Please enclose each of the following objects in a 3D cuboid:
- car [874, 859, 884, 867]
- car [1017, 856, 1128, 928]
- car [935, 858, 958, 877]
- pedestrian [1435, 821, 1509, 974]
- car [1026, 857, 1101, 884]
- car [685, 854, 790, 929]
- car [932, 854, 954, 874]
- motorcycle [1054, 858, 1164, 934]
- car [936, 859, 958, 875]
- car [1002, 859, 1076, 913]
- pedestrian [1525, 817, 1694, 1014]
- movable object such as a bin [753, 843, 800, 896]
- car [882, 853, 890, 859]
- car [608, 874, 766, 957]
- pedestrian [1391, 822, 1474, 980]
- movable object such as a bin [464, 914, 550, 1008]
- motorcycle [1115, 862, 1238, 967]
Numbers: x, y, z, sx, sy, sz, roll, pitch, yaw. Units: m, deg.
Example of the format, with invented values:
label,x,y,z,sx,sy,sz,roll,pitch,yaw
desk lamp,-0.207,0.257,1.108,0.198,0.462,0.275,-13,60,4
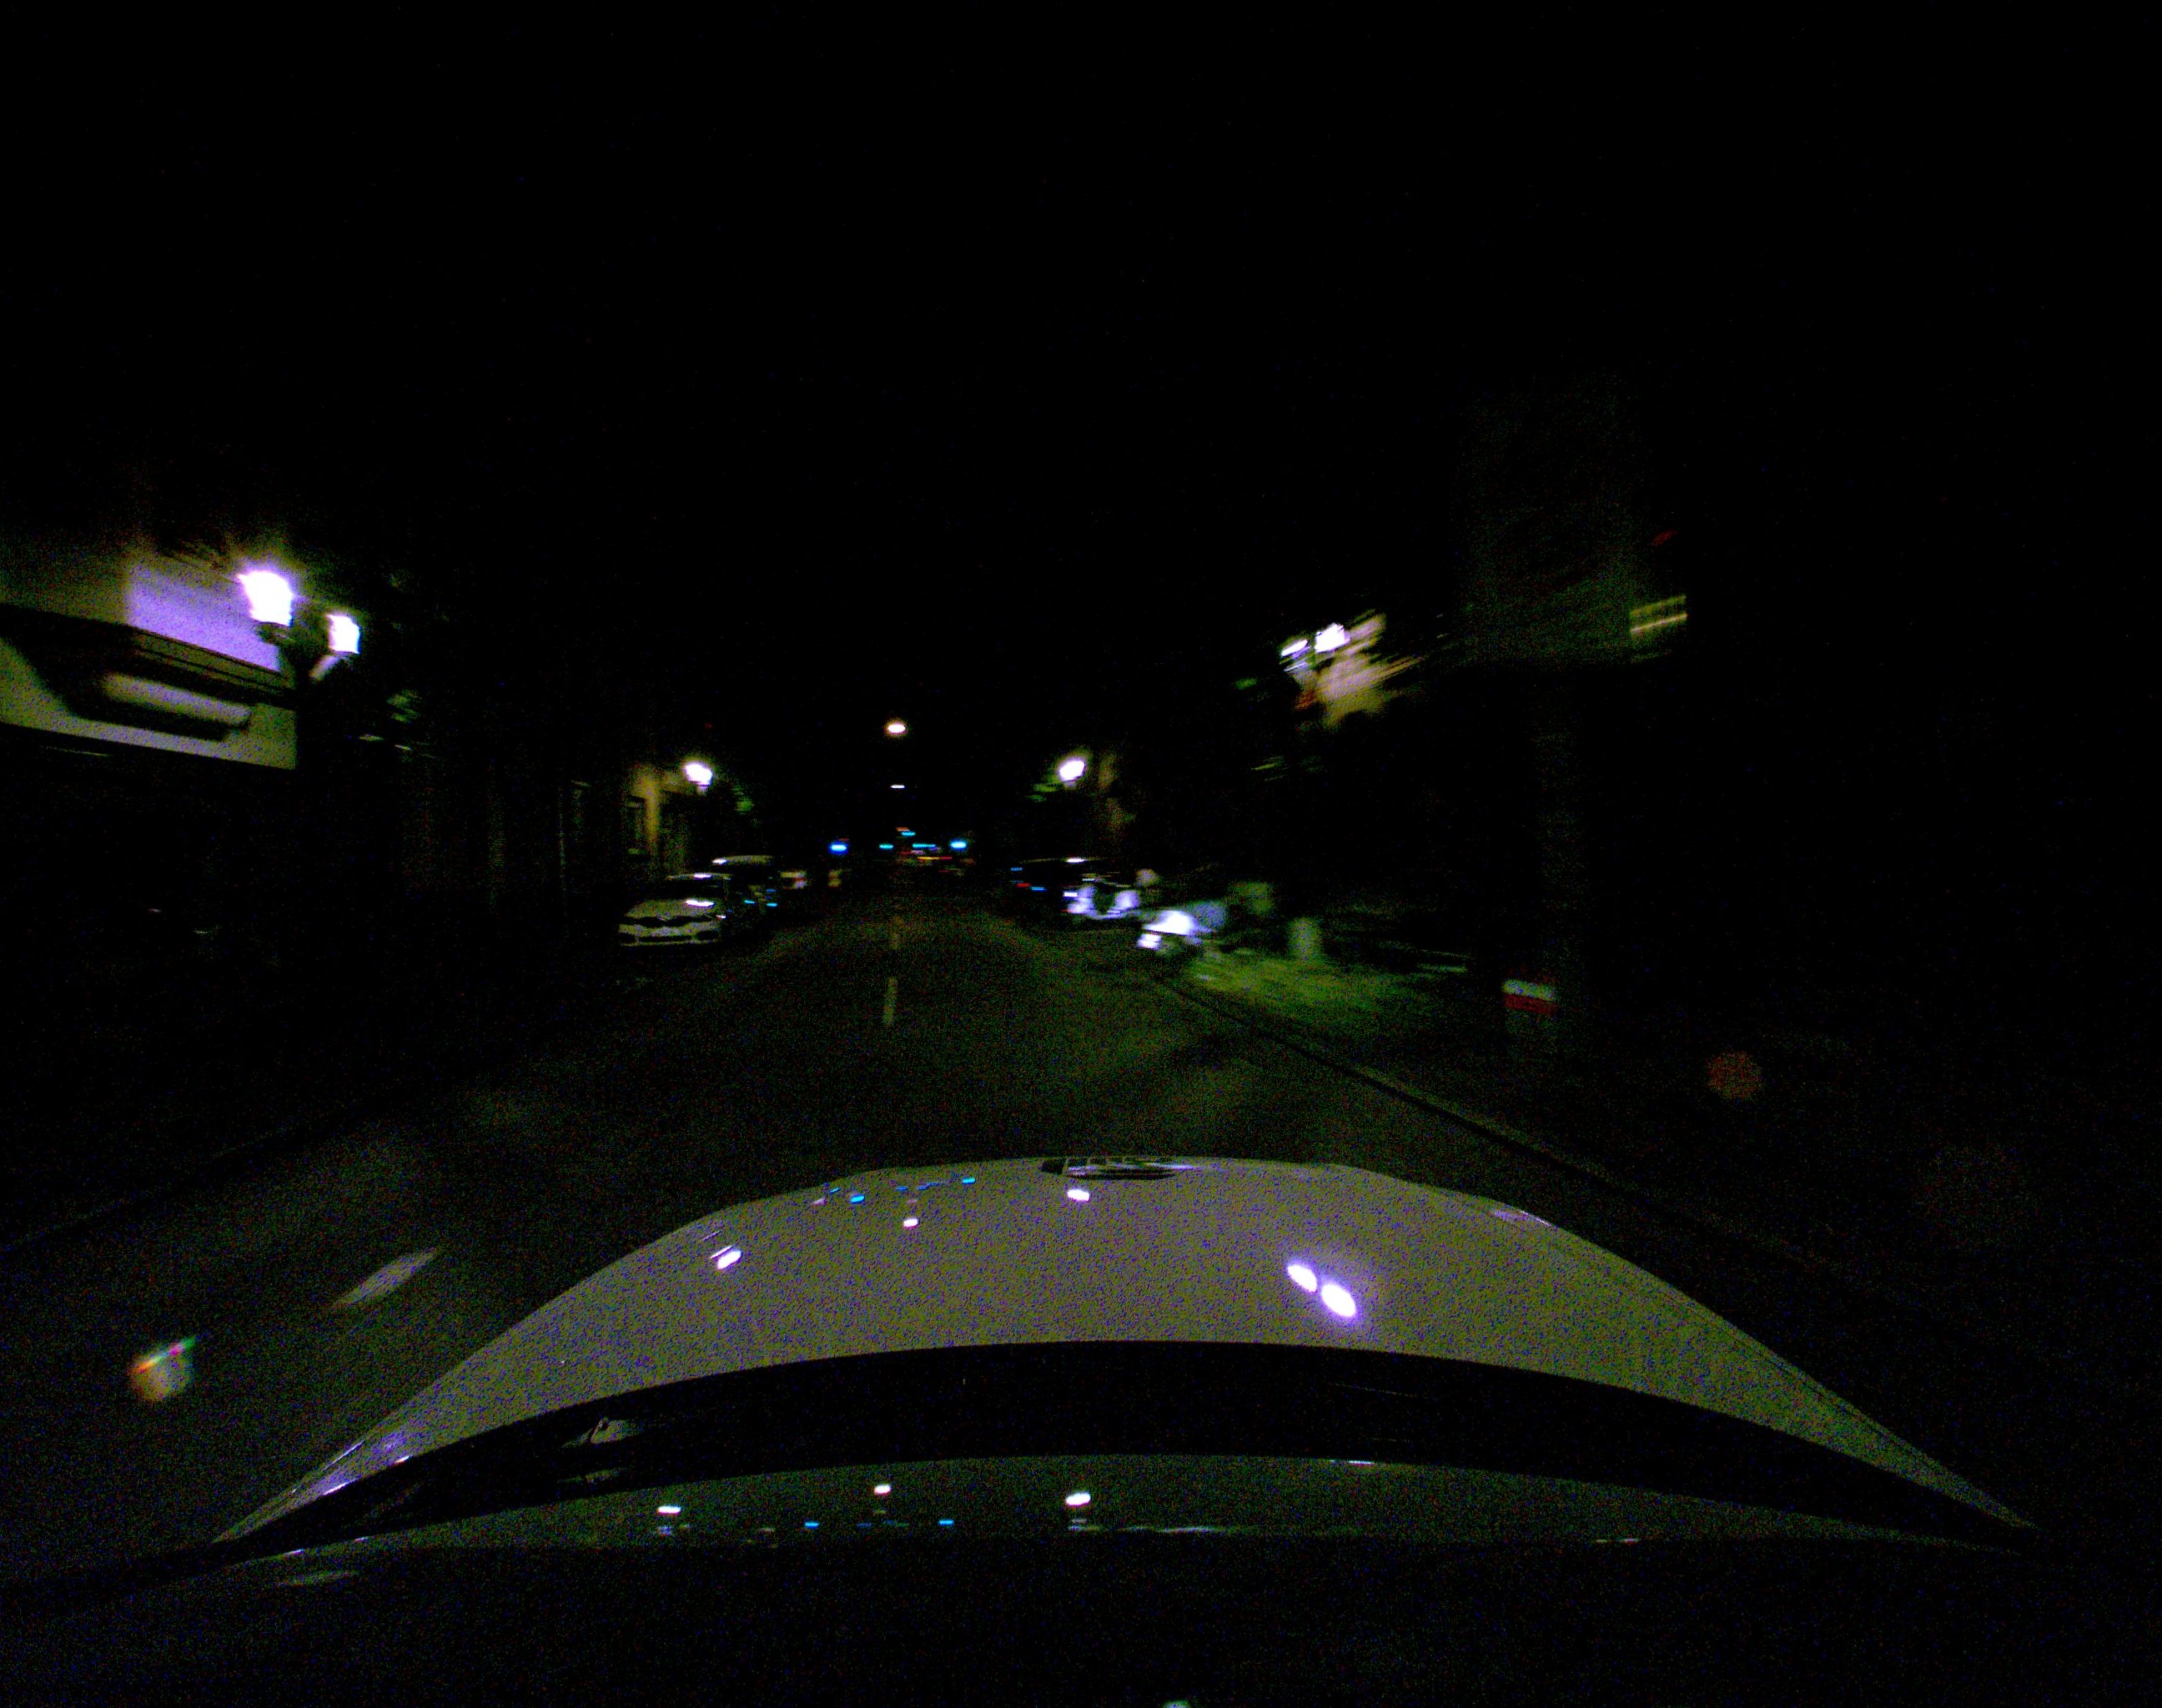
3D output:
label,x,y,z,sx,sy,sz,roll,pitch,yaw
car,-36.133,1.609,145.846,1.672,1.443,4.187,-1,1,-12
car,-0.338,0.852,19.808,1.734,1.501,4.446,-2,-1,-13
car,-11.855,1.158,71.518,1.741,1.477,3.984,-4,0,-12
pedestrian,4.543,0.486,9.478,0.477,1.709,0.568,-2,-1,-12
car,-1.040,0.955,47.063,4.020,1.422,1.843,-2,-2,-14
car,-9.522,0.972,22.951,1.885,1.843,4.793,-1,0,-13
car,-13.936,0.977,82.107,1.738,1.855,4.295,-2,0,-14
motorcycle,0.586,0.845,17.136,2.061,1.406,0.918,-3,0,-22
car,-12.584,1.203,76.273,1.687,1.421,4.424,-2,0,-12
car,-1.352,0.922,24.841,1.737,1.454,3.986,-2,0,-10
pedestrian,4.719,0.515,7.335,0.807,1.631,0.963,-1,-1,-9
movable object such as a bin,-15.911,0.793,42.720,1.572,2.626,3.894,-2,0,-11
car,-51.785,0.568,216.076,1.875,1.544,4.187,-1,1,-13
car,-8.149,1.179,17.358,1.840,1.450,4.862,-1,-1,-11
pedestrian,3.981,0.509,9.260,0.507,1.709,0.702,-2,-1,-12
movable object such as a bin,-7.007,1.281,9.944,0.617,1.049,0.694,-2,-2,37
motorcycle,1.437,0.834,11.908,0.753,1.353,1.956,-2,-1,42
